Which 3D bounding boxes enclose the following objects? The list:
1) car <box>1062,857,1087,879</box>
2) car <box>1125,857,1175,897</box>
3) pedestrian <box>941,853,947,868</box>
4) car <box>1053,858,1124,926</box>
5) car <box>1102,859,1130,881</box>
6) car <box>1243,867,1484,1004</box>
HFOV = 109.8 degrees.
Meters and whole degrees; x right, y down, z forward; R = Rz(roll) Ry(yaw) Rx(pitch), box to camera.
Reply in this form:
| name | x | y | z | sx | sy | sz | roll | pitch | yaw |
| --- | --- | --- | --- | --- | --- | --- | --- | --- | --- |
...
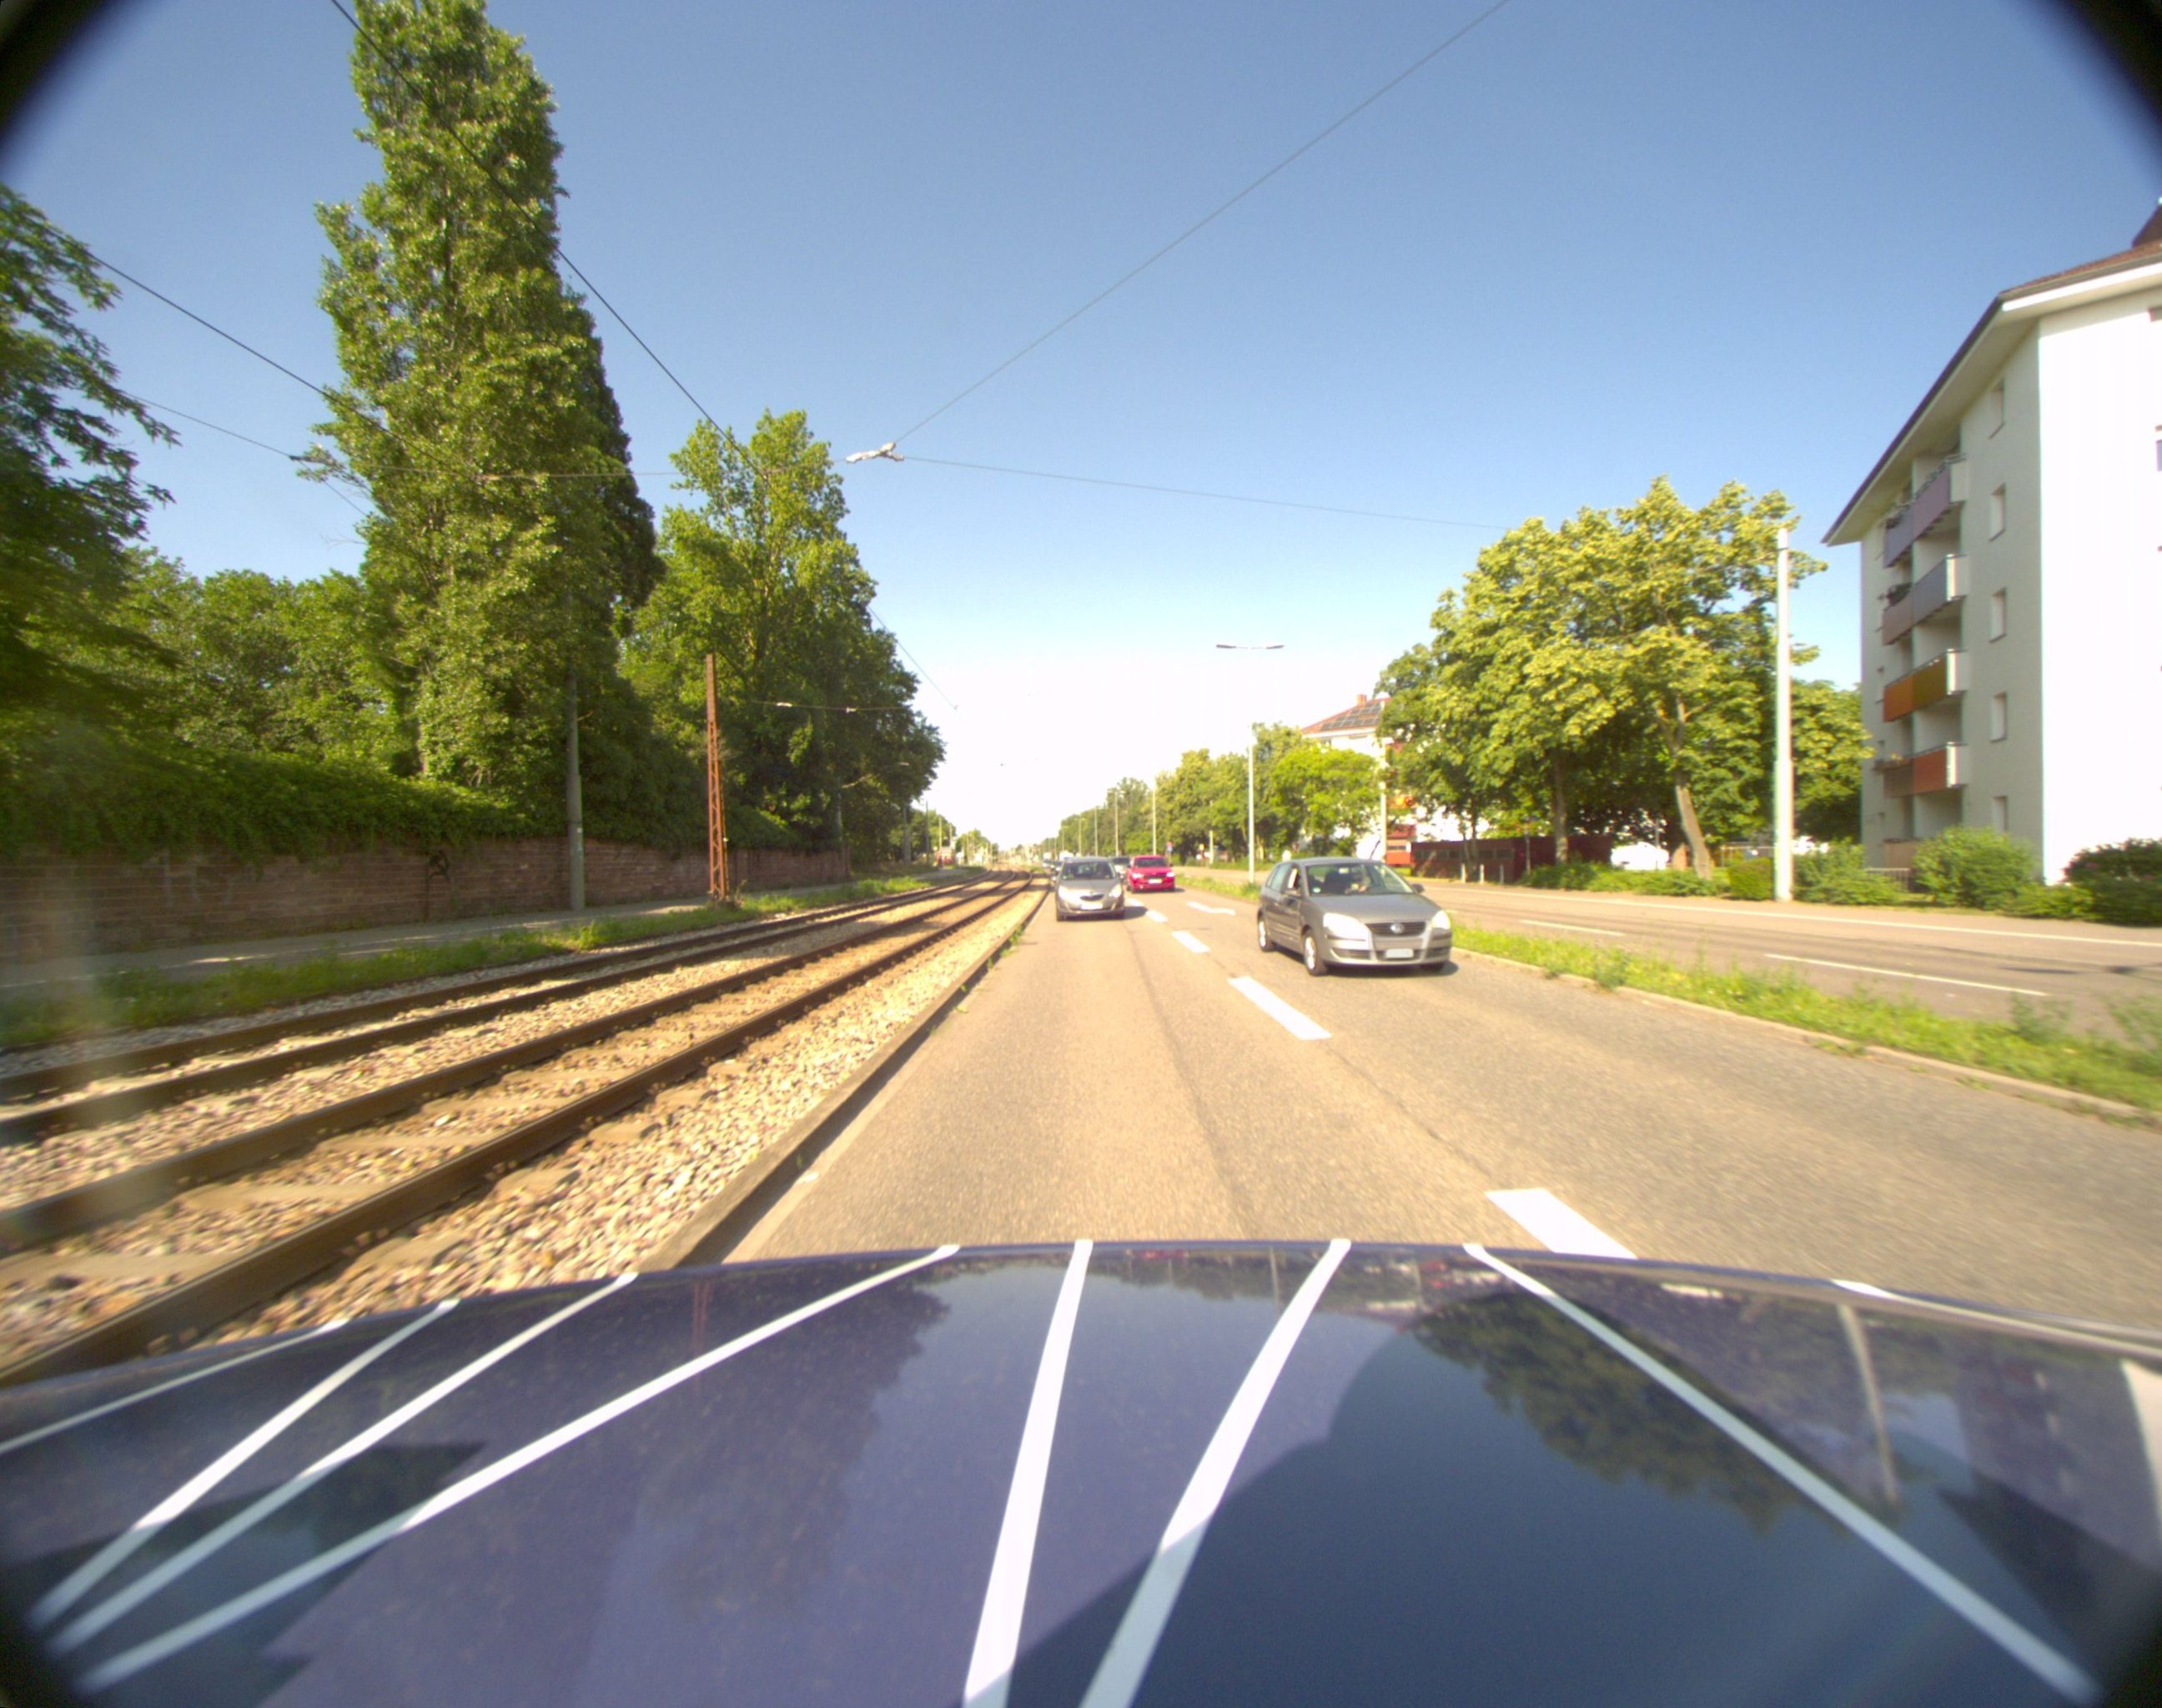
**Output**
| name | x | y | z | sx | sy | sz | roll | pitch | yaw |
| --- | --- | --- | --- | --- | --- | --- | --- | --- | --- |
| car | -0.501 | 1.049 | 57.405 | 1.710 | 1.513 | 3.832 | -2 | 0 | -3 |
| car | 2.919 | 0.937 | 33.026 | 1.693 | 1.573 | 3.832 | -2 | 0 | -2 |
| pedestrian | -15.533 | 0.709 | 86.342 | 0.501 | 1.706 | 0.885 | 0 | 0 | 3 |
| car | 0.188 | 0.925 | 20.125 | 1.650 | 1.581 | 3.833 | -2 | 0 | 0 |
| car | 2.538 | 1.131 | 55.099 | 1.710 | 1.513 | 3.832 | -2 | 0 | -2 |
| car | 3.561 | 0.933 | 10.374 | 1.693 | 1.420 | 3.832 | -2 | 0 | -3 |
